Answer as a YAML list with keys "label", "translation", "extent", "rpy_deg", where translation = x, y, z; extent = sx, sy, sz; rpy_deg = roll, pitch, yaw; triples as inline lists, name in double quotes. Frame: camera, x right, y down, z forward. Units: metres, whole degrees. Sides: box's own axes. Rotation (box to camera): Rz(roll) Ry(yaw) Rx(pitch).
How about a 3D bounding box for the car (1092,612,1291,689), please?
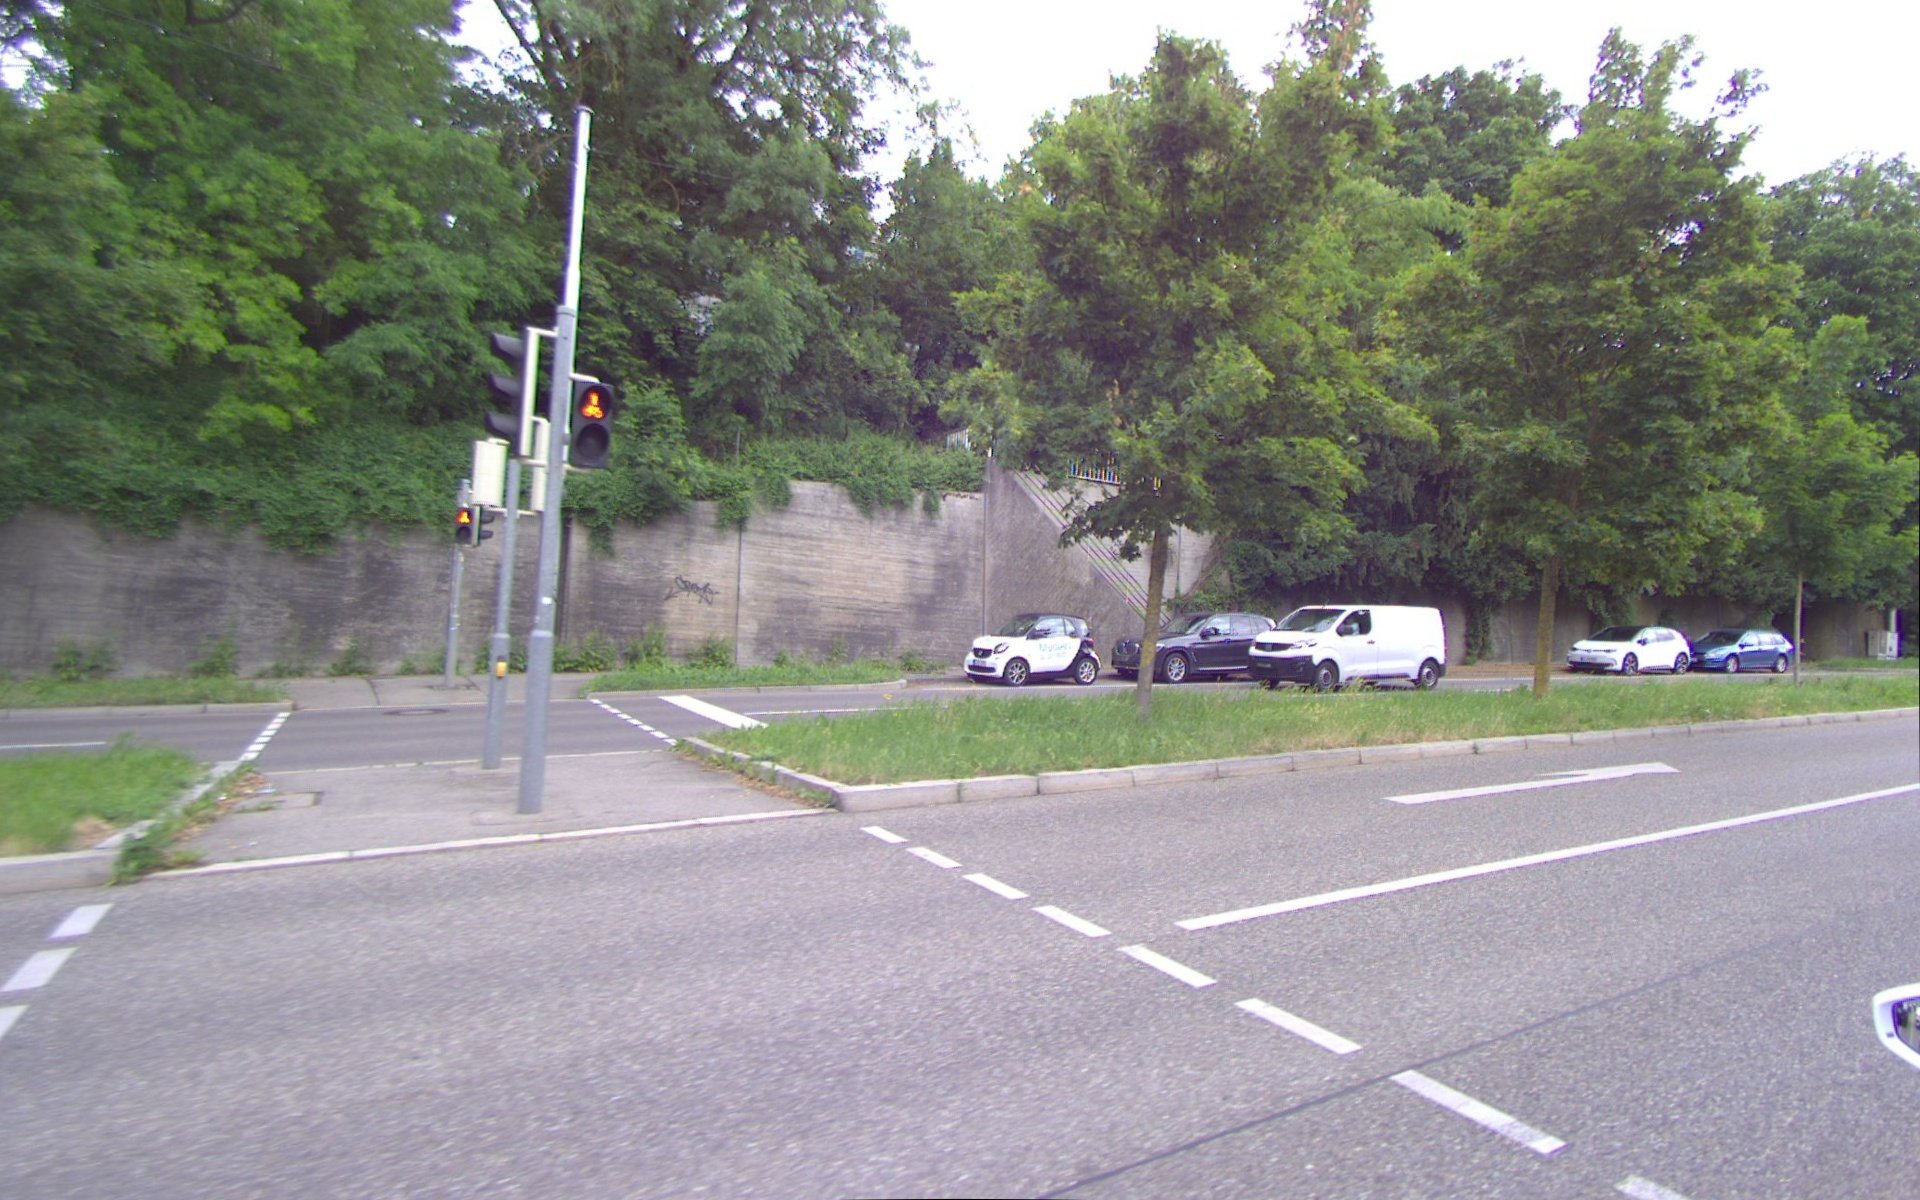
- label: "car"
  translation: [5.640, 1.196, 24.413]
  extent: [4.473, 1.679, 1.962]
  rpy_deg: [2, 0, -27]

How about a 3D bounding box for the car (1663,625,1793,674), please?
- label: "car"
  translation: [26.704, 1.697, 34.930]
  extent: [4.239, 1.549, 1.708]
  rpy_deg: [1, 1, -23]

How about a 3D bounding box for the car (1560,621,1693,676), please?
- label: "car"
  translation: [21.690, 1.549, 32.689]
  extent: [4.115, 1.650, 1.774]
  rpy_deg: [1, 1, -26]

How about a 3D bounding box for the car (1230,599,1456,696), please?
- label: "car"
  translation: [8.731, 1.043, 22.840]
  extent: [4.956, 1.984, 1.932]
  rpy_deg: [1, 0, -26]

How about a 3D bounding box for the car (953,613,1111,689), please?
- label: "car"
  translation: [1.605, 1.084, 22.354]
  extent: [3.063, 1.518, 1.770]
  rpy_deg: [1, 1, -32]
